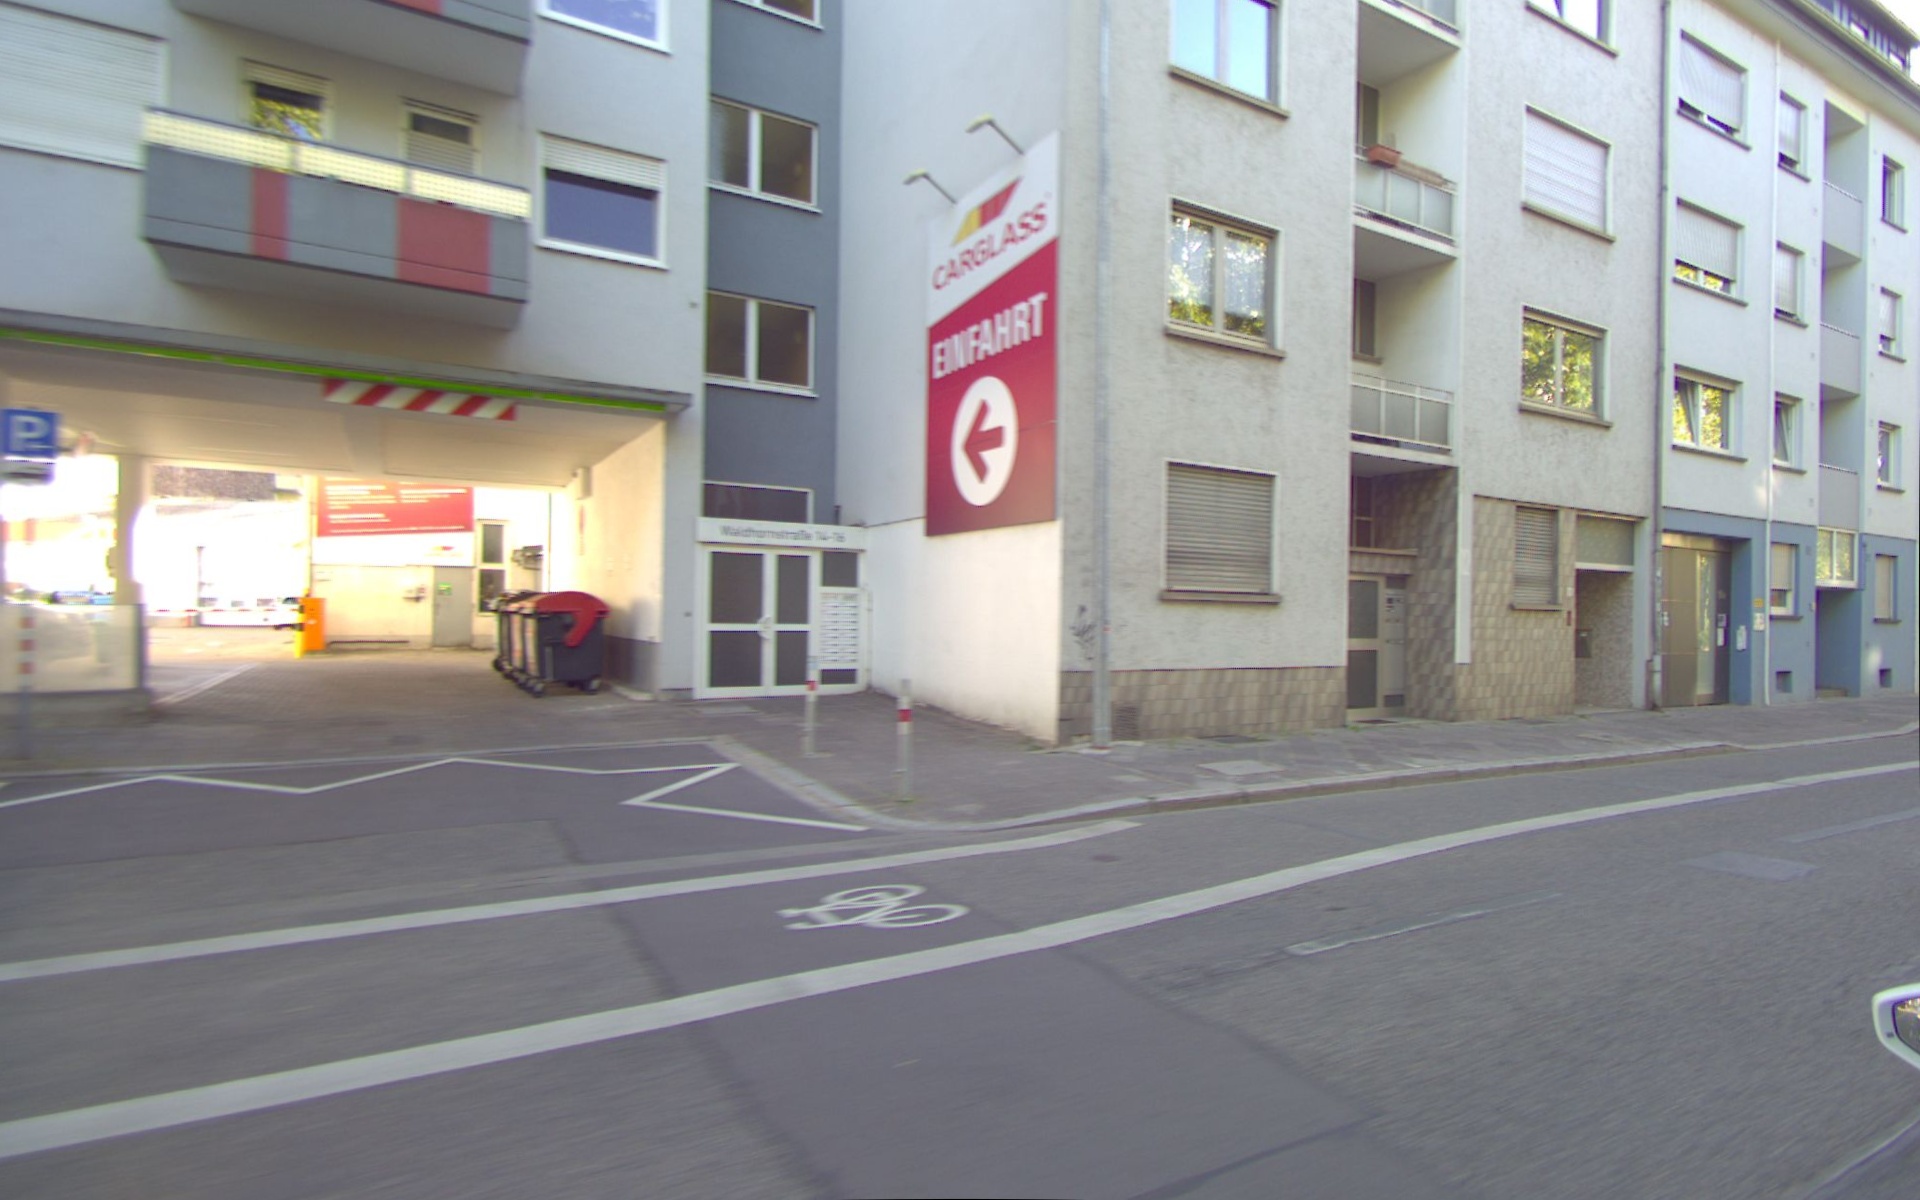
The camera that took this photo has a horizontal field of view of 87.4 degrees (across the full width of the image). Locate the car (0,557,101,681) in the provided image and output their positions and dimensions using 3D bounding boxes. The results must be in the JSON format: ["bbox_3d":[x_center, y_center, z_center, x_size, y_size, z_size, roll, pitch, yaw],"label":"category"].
[{"bbox_3d":[-15.489,0.232,14.397,4.532,1.770,1.712,2,-1,-31],"label":"car"}]

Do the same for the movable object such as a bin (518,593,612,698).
[{"bbox_3d":[-5.686,0.632,14.412,1.077,1.419,1.272,1,-1,-30],"label":"movable object such as a bin"}]

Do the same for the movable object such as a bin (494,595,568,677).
[{"bbox_3d":[-7.756,0.639,18.121,1.077,1.419,1.272,1,-1,-30],"label":"movable object such as a bin"}]

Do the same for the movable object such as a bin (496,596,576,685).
[{"bbox_3d":[-7.099,0.656,16.804,1.077,1.419,1.272,1,-1,-30],"label":"movable object such as a bin"}]

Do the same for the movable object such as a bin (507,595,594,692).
[{"bbox_3d":[-6.367,0.656,15.594,1.077,1.419,1.272,1,-1,-30],"label":"movable object such as a bin"}]

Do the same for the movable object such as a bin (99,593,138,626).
[{"bbox_3d":[-35.010,0.391,41.791,0.984,1.330,0.839,2,1,-19],"label":"movable object such as a bin"}]

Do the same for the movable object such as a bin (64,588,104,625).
[{"bbox_3d":[-36.166,0.279,41.493,0.984,1.475,0.839,2,1,-19],"label":"movable object such as a bin"}]

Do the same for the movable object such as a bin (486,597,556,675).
[{"bbox_3d":[-8.438,0.674,19.283,1.077,1.419,1.272,1,-1,-30],"label":"movable object such as a bin"}]
